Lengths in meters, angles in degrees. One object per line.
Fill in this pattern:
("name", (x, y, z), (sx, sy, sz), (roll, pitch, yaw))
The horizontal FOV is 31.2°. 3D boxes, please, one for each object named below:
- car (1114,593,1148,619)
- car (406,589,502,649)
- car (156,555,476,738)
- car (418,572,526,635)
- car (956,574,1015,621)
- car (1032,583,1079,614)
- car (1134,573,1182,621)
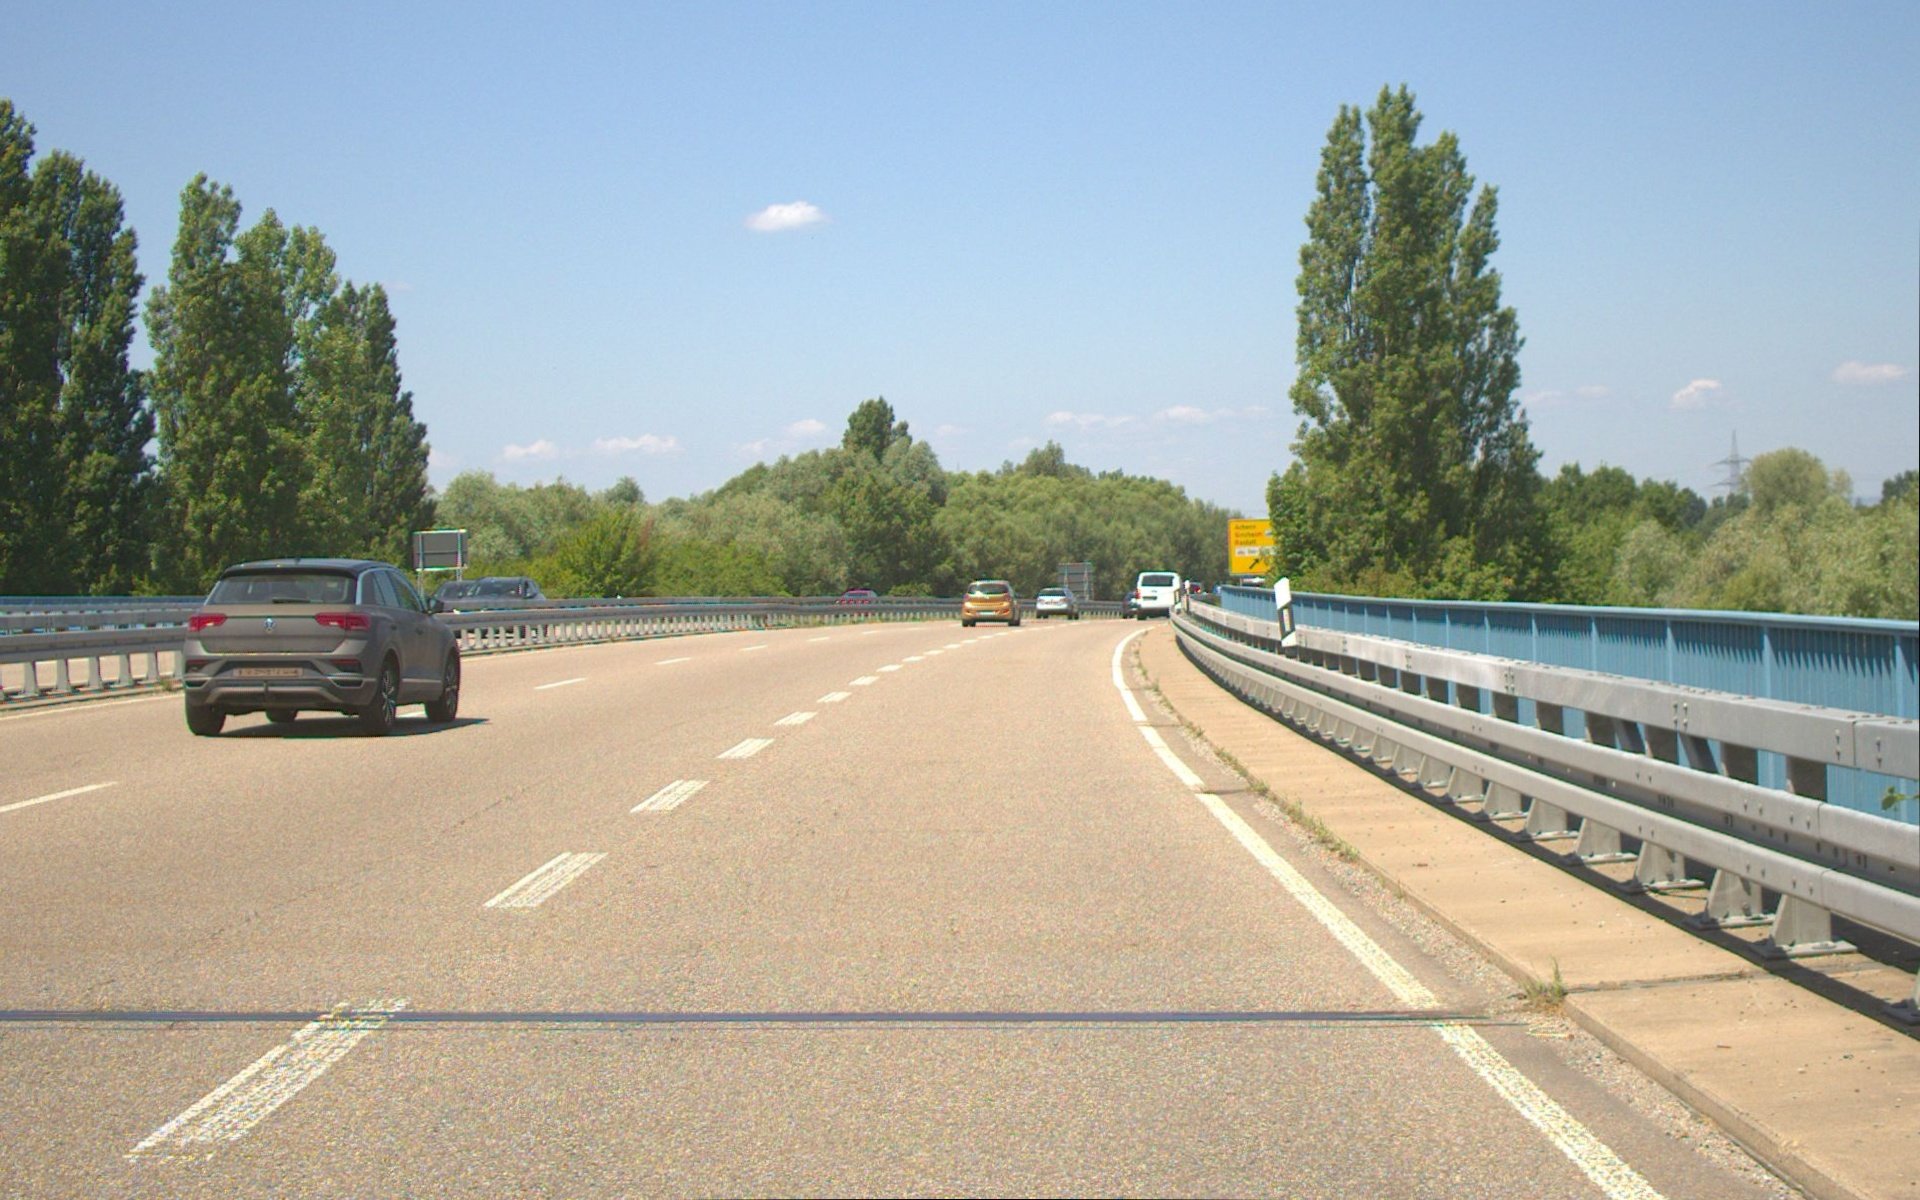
("car", (10.435, 0.361, 209.429), (1.944, 1.459, 3.999), (1, 1, 5))
("car", (-14.574, 0.564, 99.267), (1.843, 1.662, 5.050), (-1, -1, 2))
("car", (-5.787, 0.368, 31.427), (1.841, 1.524, 4.469), (1, 1, 3))
("car", (-12.084, 0.063, 85.458), (1.905, 1.499, 4.684), (0, 1, 1))
("car", (0.830, -0.099, 111.051), (1.841, 1.459, 4.000), (1, 1, 0))
("car", (4.700, -0.078, 168.758), (1.842, 1.446, 3.999), (1, 1, 8))
("car", (8.124, -0.124, 140.851), (1.841, 1.889, 3.999), (1, 1, 5))
